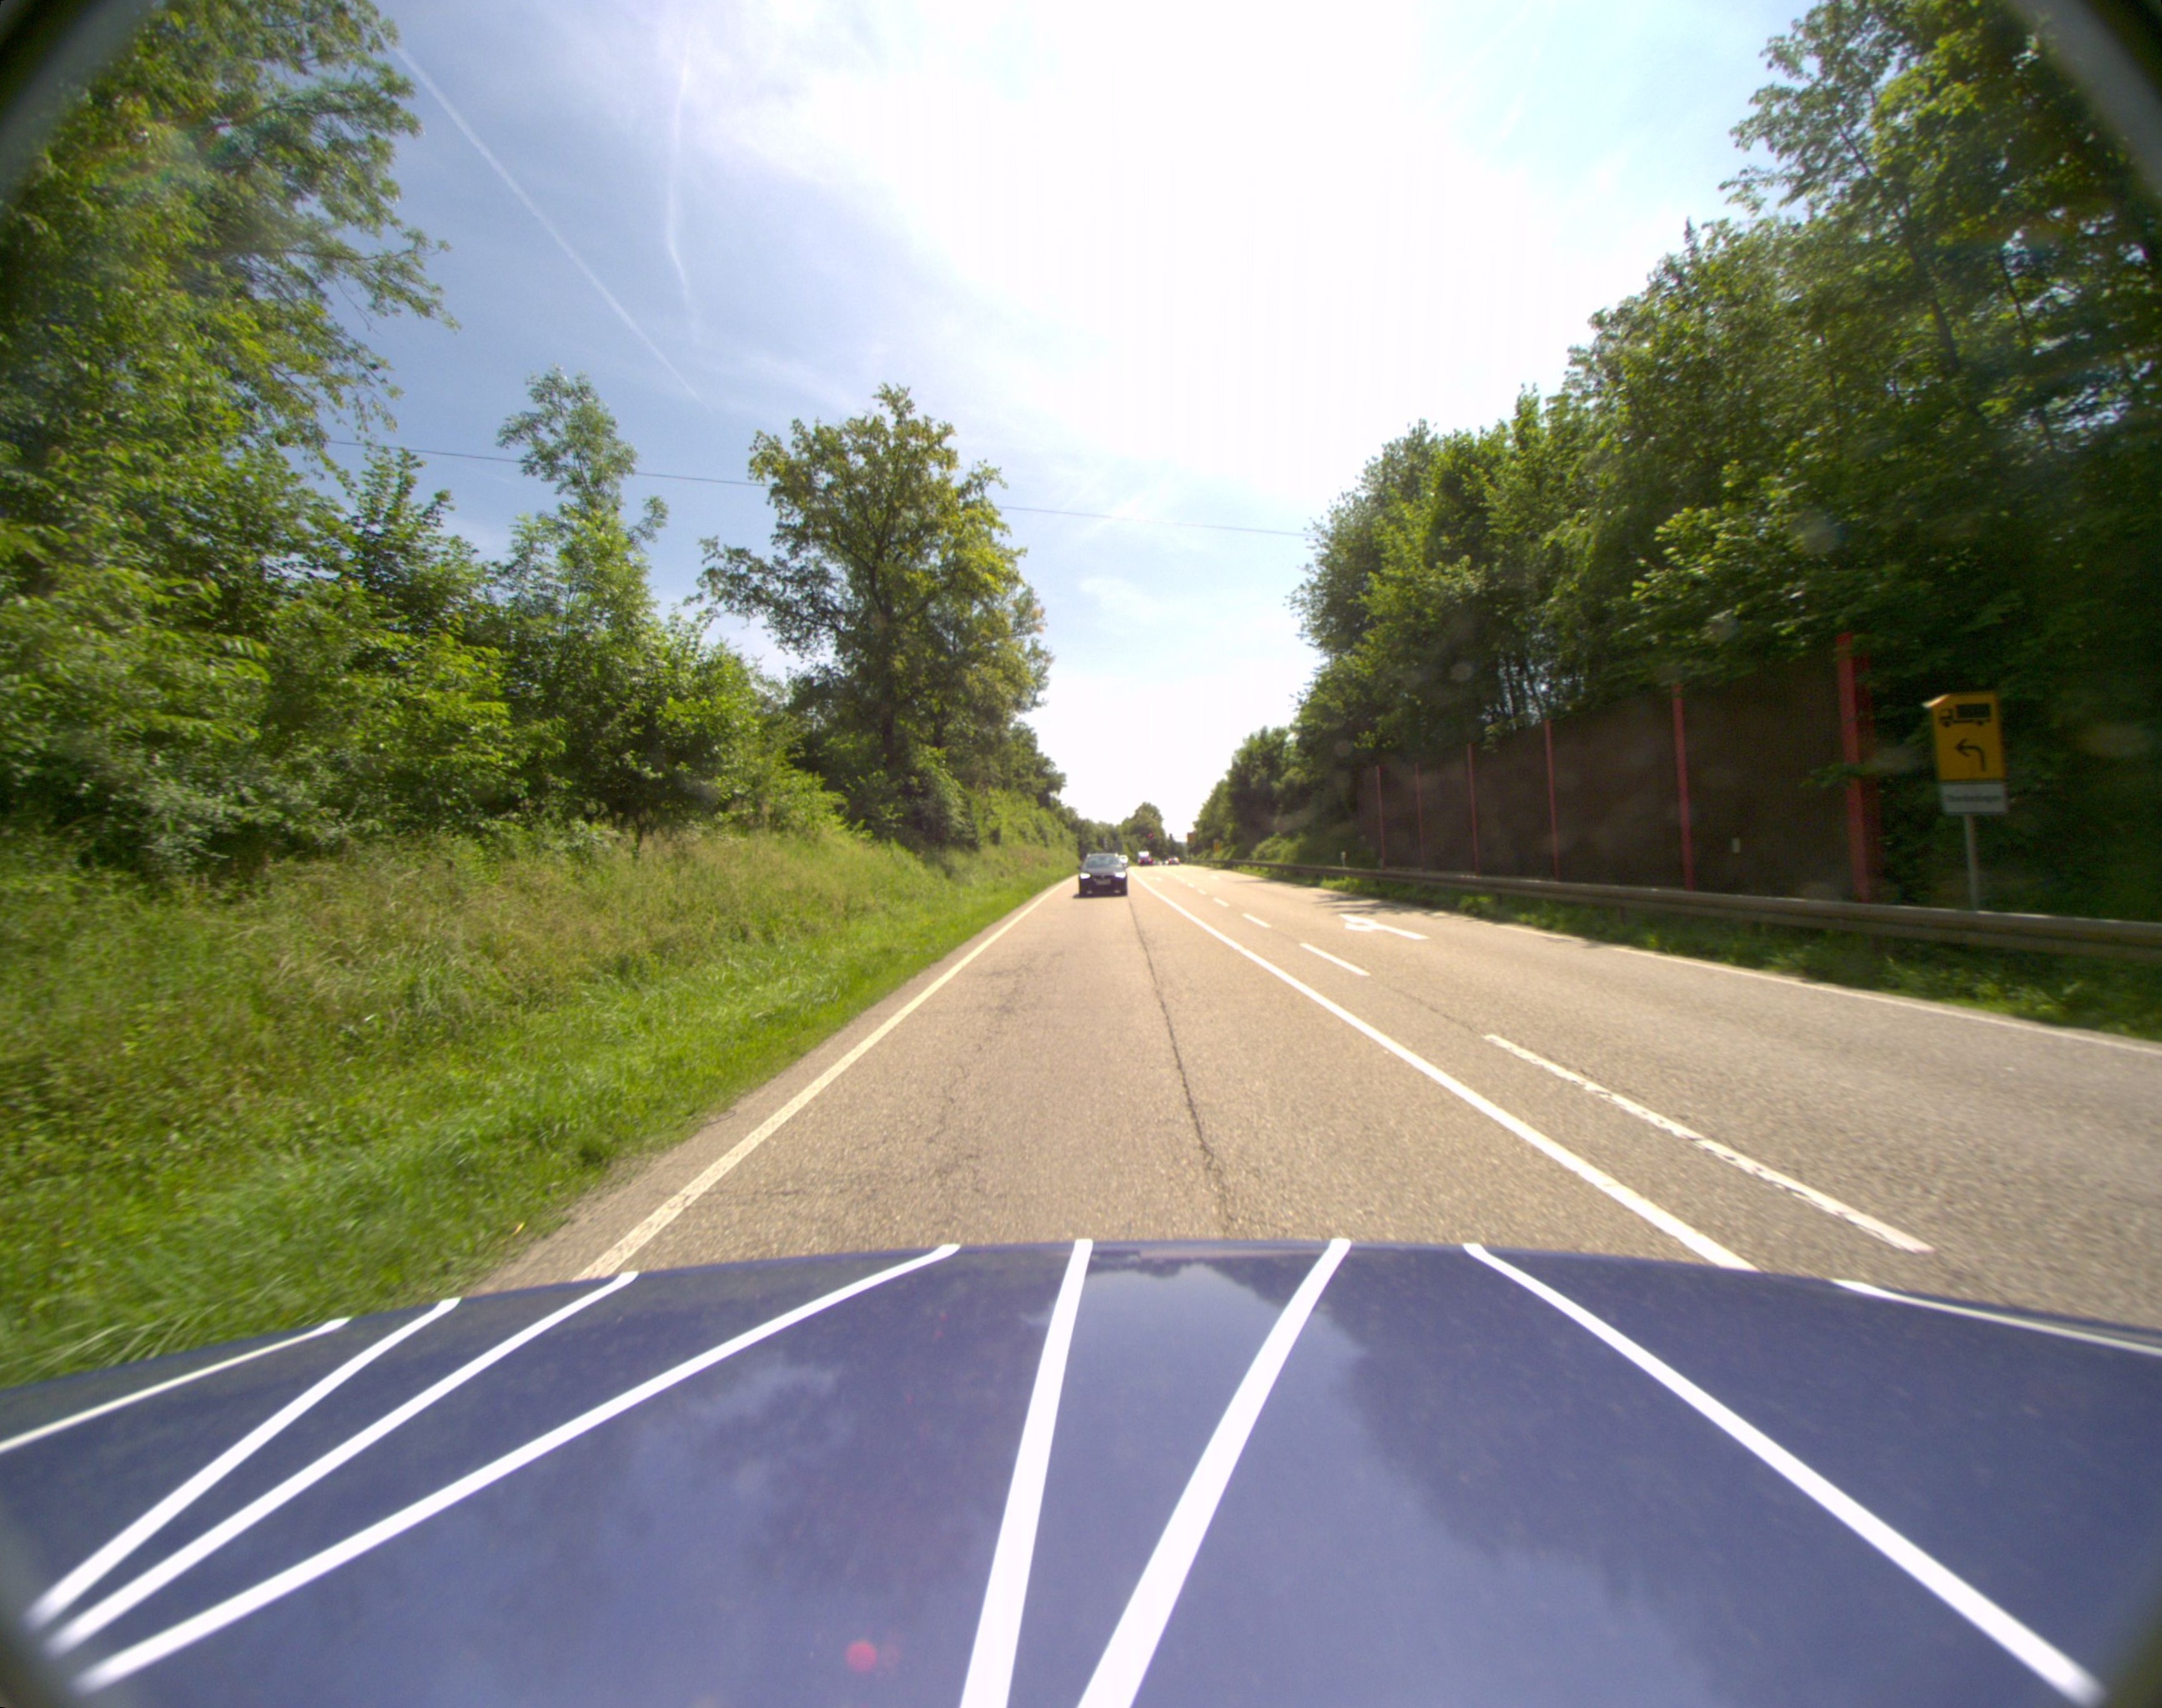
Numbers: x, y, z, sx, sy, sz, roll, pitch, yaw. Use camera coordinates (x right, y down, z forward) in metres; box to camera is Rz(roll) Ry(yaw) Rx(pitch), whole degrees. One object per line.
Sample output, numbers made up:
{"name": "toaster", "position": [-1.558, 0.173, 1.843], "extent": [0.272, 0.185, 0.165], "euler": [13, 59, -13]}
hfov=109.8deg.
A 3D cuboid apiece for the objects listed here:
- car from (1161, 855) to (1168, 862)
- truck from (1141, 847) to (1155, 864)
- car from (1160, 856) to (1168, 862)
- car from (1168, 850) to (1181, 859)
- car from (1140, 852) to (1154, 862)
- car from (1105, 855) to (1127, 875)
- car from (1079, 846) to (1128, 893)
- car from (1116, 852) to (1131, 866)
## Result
{"name": "car", "position": [25.576, 1.304, 232.513], "extent": [1.997, 2.001, 4.003], "euler": [-4, -1, 10]}
{"name": "truck", "position": [15.918, 0.324, 181.067], "extent": [2.838, 3.794, 8.454], "euler": [-3, 0, 7]}
{"name": "car", "position": [23.723, 1.416, 218.021], "extent": [1.997, 1.790, 4.003], "euler": [-4, -1, 10]}
{"name": "car", "position": [14.610, 0.069, 118.630], "extent": [1.810, 1.427, 3.872], "euler": [-1, 0, 4]}
{"name": "car", "position": [9.764, 0.419, 112.265], "extent": [1.808, 1.444, 4.389], "euler": [-2, 0, 6]}
{"name": "car", "position": [3.226, 1.012, 70.867], "extent": [1.770, 1.674, 4.000], "euler": [-4, -1, 0]}
{"name": "car", "position": [0.837, 0.547, 28.221], "extent": [1.626, 1.535, 4.001], "euler": [-3, 0, 2]}
{"name": "car", "position": [6.786, 0.787, 120.972], "extent": [1.997, 2.001, 4.002], "euler": [-4, -1, 7]}
